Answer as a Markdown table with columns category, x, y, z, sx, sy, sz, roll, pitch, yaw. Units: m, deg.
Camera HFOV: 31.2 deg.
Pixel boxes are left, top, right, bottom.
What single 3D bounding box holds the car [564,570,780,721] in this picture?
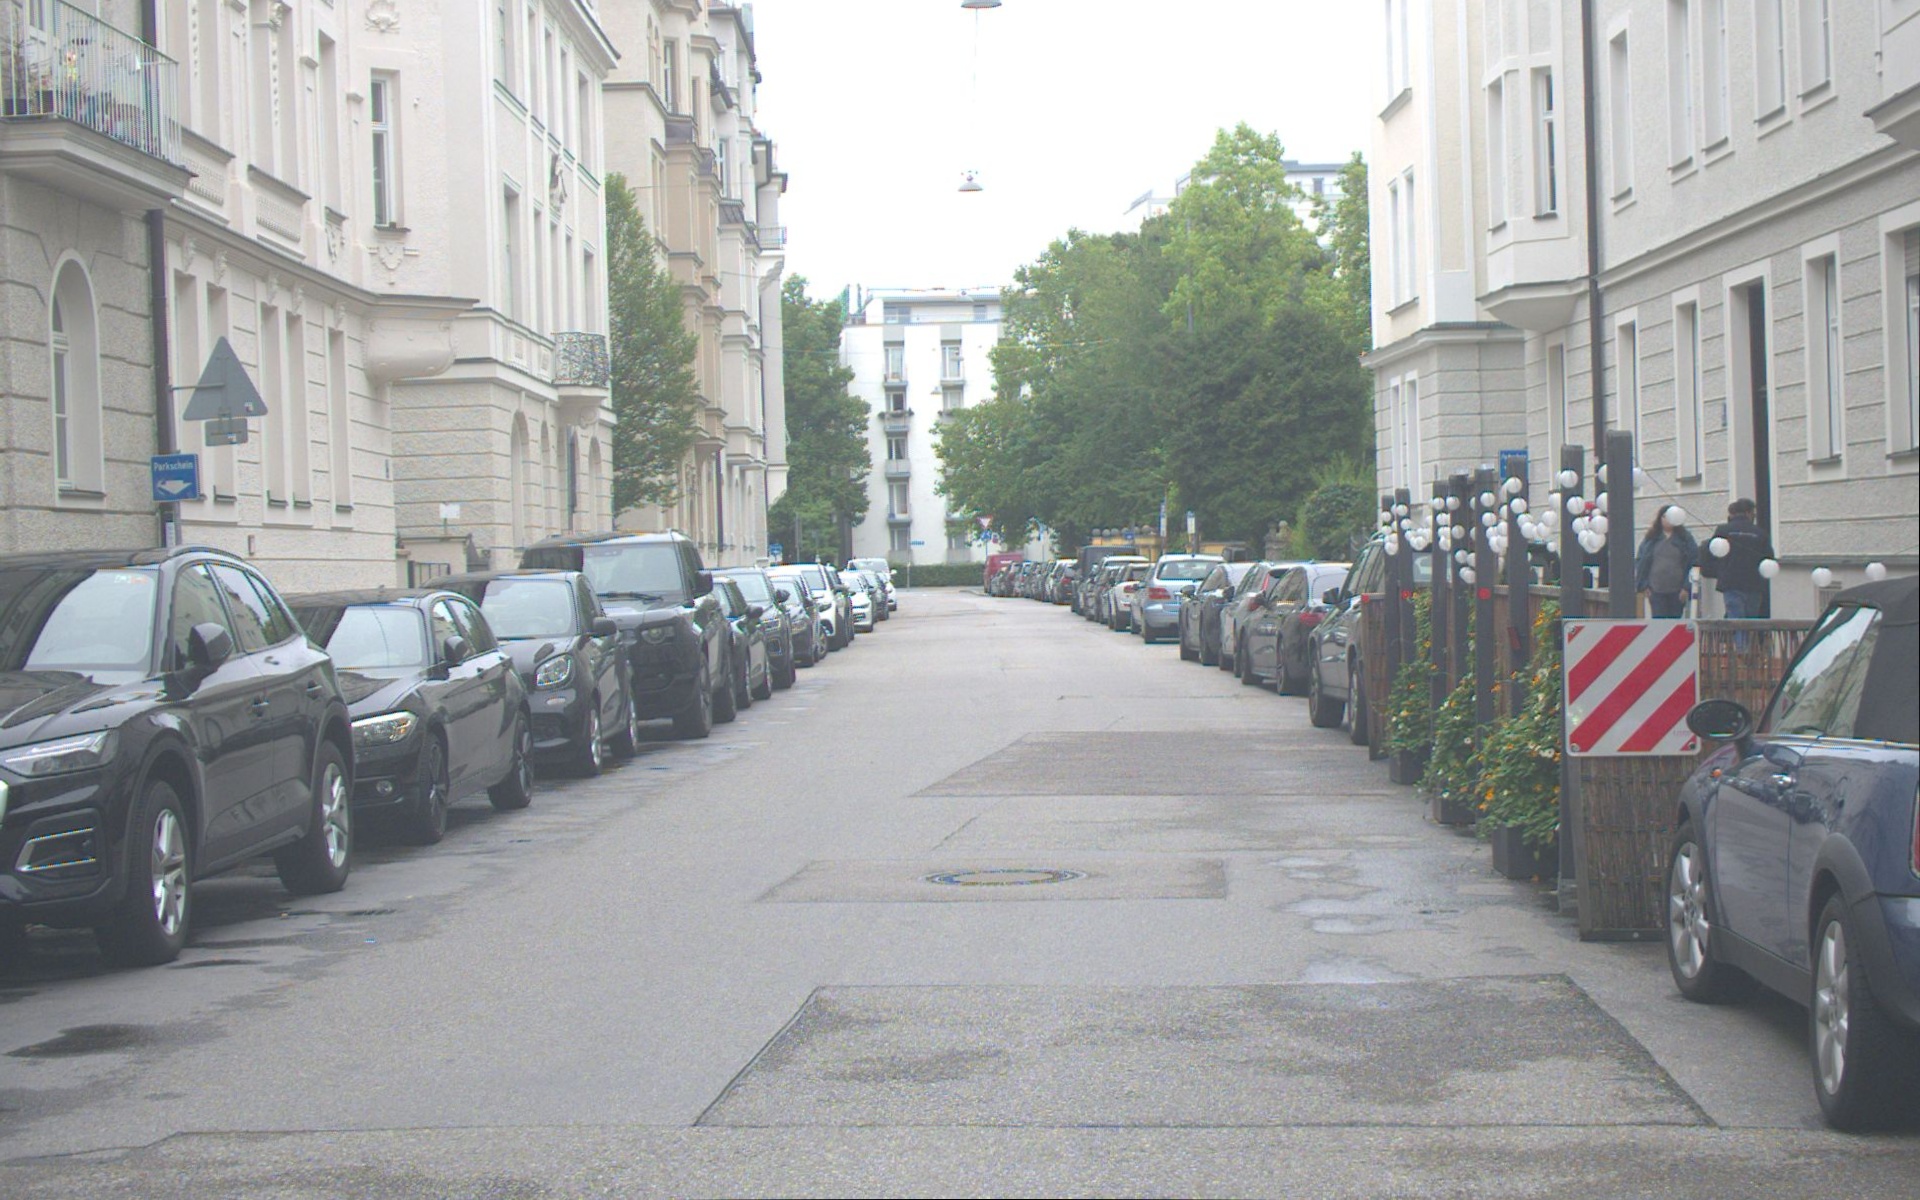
| category | x | y | z | sx | sy | sz | roll | pitch | yaw |
| --- | --- | --- | --- | --- | --- | --- | --- | --- | --- |
| car | -3.067 | 0.448 | 37.440 | 1.836 | 1.389 | 4.245 | -4 | 1 | 1 |

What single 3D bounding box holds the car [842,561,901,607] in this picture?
| category | x | y | z | sx | sy | sz | roll | pitch | yaw |
| --- | --- | --- | --- | --- | --- | --- | --- | --- | --- |
| car | -3.083 | -0.585 | 120.911 | 1.836 | 1.433 | 4.275 | -4 | 1 | 1 |

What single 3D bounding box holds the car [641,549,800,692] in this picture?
| category | x | y | z | sx | sy | sz | roll | pitch | yaw |
| --- | --- | --- | --- | --- | --- | --- | --- | --- | --- |
| car | -2.972 | 0.228 | 43.398 | 1.726 | 1.613 | 4.122 | -4 | 1 | -2 |

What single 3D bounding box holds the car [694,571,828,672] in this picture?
| category | x | y | z | sx | sy | sz | roll | pitch | yaw |
| --- | --- | --- | --- | --- | --- | --- | --- | --- | --- |
| car | -3.126 | 0.318 | 54.676 | 1.792 | 1.410 | 4.279 | -4 | 1 | 0 |

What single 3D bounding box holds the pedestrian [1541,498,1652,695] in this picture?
| category | x | y | z | sx | sy | sz | roll | pitch | yaw |
| --- | --- | --- | --- | --- | --- | --- | --- | --- | --- |
| pedestrian | 6.000 | -0.042 | 32.475 | 0.883 | 1.805 | 1.111 | -2 | 1 | 5 |

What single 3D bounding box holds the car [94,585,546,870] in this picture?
| category | x | y | z | sx | sy | sz | roll | pitch | yaw |
| --- | --- | --- | --- | --- | --- | --- | --- | --- | --- |
| car | -3.665 | 0.676 | 20.392 | 1.654 | 1.402 | 4.091 | -3 | 1 | 3 |

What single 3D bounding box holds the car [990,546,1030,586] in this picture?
| category | x | y | z | sx | sy | sz | roll | pitch | yaw |
| --- | --- | --- | --- | --- | --- | --- | --- | --- | --- |
| car | 2.451 | -1.677 | 167.954 | 1.836 | 1.920 | 4.004 | 1 | 1 | 2 |

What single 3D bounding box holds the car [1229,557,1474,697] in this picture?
| category | x | y | z | sx | sy | sz | roll | pitch | yaw |
| --- | --- | --- | --- | --- | --- | --- | --- | --- | --- |
| car | 4.208 | 0.246 | 37.726 | 1.836 | 1.394 | 4.975 | 0 | 1 | -3 |

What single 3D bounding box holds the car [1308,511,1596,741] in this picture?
| category | x | y | z | sx | sy | sz | roll | pitch | yaw |
| --- | --- | --- | --- | --- | --- | --- | --- | --- | --- |
| car | 3.897 | 0.158 | 27.862 | 1.800 | 1.669 | 4.189 | -2 | 1 | 2 |

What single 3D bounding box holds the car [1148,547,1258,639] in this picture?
| category | x | y | z | sx | sy | sz | roll | pitch | yaw |
| --- | --- | --- | --- | --- | --- | --- | --- | --- | --- |
| car | 4.378 | -0.165 | 62.477 | 1.822 | 1.564 | 4.400 | 1 | 1 | 2 |

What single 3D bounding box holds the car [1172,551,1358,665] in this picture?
| category | x | y | z | sx | sy | sz | roll | pitch | yaw |
| --- | --- | --- | --- | --- | --- | --- | --- | --- | --- |
| car | 4.226 | 0.074 | 48.334 | 1.993 | 1.452 | 4.713 | -2 | 1 | -2 |

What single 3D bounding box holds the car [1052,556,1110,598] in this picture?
| category | x | y | z | sx | sy | sz | roll | pitch | yaw |
| --- | --- | --- | --- | --- | --- | --- | --- | --- | --- |
| car | 4.137 | -0.793 | 118.298 | 1.838 | 1.408 | 4.342 | 0 | 0 | 0 |

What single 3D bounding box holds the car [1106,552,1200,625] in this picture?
| category | x | y | z | sx | sy | sz | roll | pitch | yaw |
| --- | --- | --- | --- | --- | --- | --- | --- | --- | --- |
| car | 4.095 | -0.267 | 73.416 | 1.784 | 1.499 | 4.065 | -1 | 1 | 0 |

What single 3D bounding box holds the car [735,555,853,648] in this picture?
| category | x | y | z | sx | sy | sz | roll | pitch | yaw |
| --- | --- | --- | --- | --- | --- | --- | --- | --- | --- |
| car | -3.091 | -0.003 | 64.713 | 1.915 | 1.613 | 4.571 | -2 | 1 | 1 |

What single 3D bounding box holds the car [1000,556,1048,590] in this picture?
| category | x | y | z | sx | sy | sz | roll | pitch | yaw |
| --- | --- | --- | --- | --- | --- | --- | --- | --- | --- |
| car | 2.918 | -1.233 | 157.144 | 1.838 | 1.513 | 3.948 | 0 | 0 | -4 |

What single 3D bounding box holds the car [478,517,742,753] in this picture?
| category | x | y | z | sx | sy | sz | roll | pitch | yaw |
| --- | --- | --- | --- | --- | --- | --- | --- | --- | --- |
| car | -3.114 | 0.255 | 31.484 | 1.836 | 1.888 | 4.763 | -4 | 1 | 0 |

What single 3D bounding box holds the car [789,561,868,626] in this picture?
| category | x | y | z | sx | sy | sz | roll | pitch | yaw |
| --- | --- | --- | --- | --- | --- | --- | --- | --- | --- |
| car | -3.240 | -0.181 | 85.238 | 1.836 | 1.429 | 4.245 | -3 | 1 | -1 |

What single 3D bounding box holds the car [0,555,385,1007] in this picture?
| category | x | y | z | sx | sy | sz | roll | pitch | yaw |
| --- | --- | --- | --- | --- | --- | --- | --- | --- | --- |
| car | -3.901 | 0.649 | 14.720 | 1.876 | 1.594 | 4.433 | -2 | 1 | 3 |

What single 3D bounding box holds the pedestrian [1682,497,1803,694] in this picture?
| category | x | y | z | sx | sy | sz | roll | pitch | yaw |
| --- | --- | --- | --- | --- | --- | --- | --- | --- | --- |
| pedestrian | 7.296 | -0.049 | 32.100 | 0.883 | 1.780 | 1.111 | -2 | 1 | 3 |

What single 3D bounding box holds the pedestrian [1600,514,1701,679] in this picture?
| category | x | y | z | sx | sy | sz | roll | pitch | yaw |
| --- | --- | --- | --- | --- | --- | --- | --- | --- | --- |
| pedestrian | 7.754 | -0.045 | 38.638 | 0.883 | 1.807 | 1.111 | -2 | 1 | 1 |

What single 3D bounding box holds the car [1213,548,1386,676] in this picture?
| category | x | y | z | sx | sy | sz | roll | pitch | yaw |
| --- | --- | --- | --- | --- | --- | --- | --- | --- | --- |
| car | 4.231 | 0.115 | 43.378 | 1.760 | 1.480 | 4.420 | 1 | 1 | 1 |

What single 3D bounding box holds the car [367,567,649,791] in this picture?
| category | x | y | z | sx | sy | sz | roll | pitch | yaw |
| --- | --- | --- | --- | --- | --- | --- | --- | --- | --- |
| car | -3.392 | 0.547 | 26.352 | 1.616 | 1.508 | 3.532 | -3 | 1 | 0 |

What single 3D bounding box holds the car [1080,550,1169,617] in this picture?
| category | x | y | z | sx | sy | sz | roll | pitch | yaw |
| --- | --- | --- | --- | --- | --- | --- | --- | --- | --- |
| car | 4.082 | -0.439 | 85.741 | 1.750 | 1.605 | 4.424 | 0 | 1 | -3 |

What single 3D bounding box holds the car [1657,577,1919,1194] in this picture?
| category | x | y | z | sx | sy | sz | roll | pitch | yaw |
| --- | --- | --- | --- | --- | --- | --- | --- | --- | --- |
| car | 3.119 | 0.671 | 9.749 | 1.666 | 1.395 | 3.492 | 1 | 1 | 2 |

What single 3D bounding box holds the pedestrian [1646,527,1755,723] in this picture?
| category | x | y | z | sx | sy | sz | roll | pitch | yaw |
| --- | --- | --- | --- | --- | --- | --- | --- | --- | --- |
| pedestrian | 7.810 | 0.250 | 36.309 | 0.883 | 2.007 | 1.111 | -2 | 1 | 1 |
